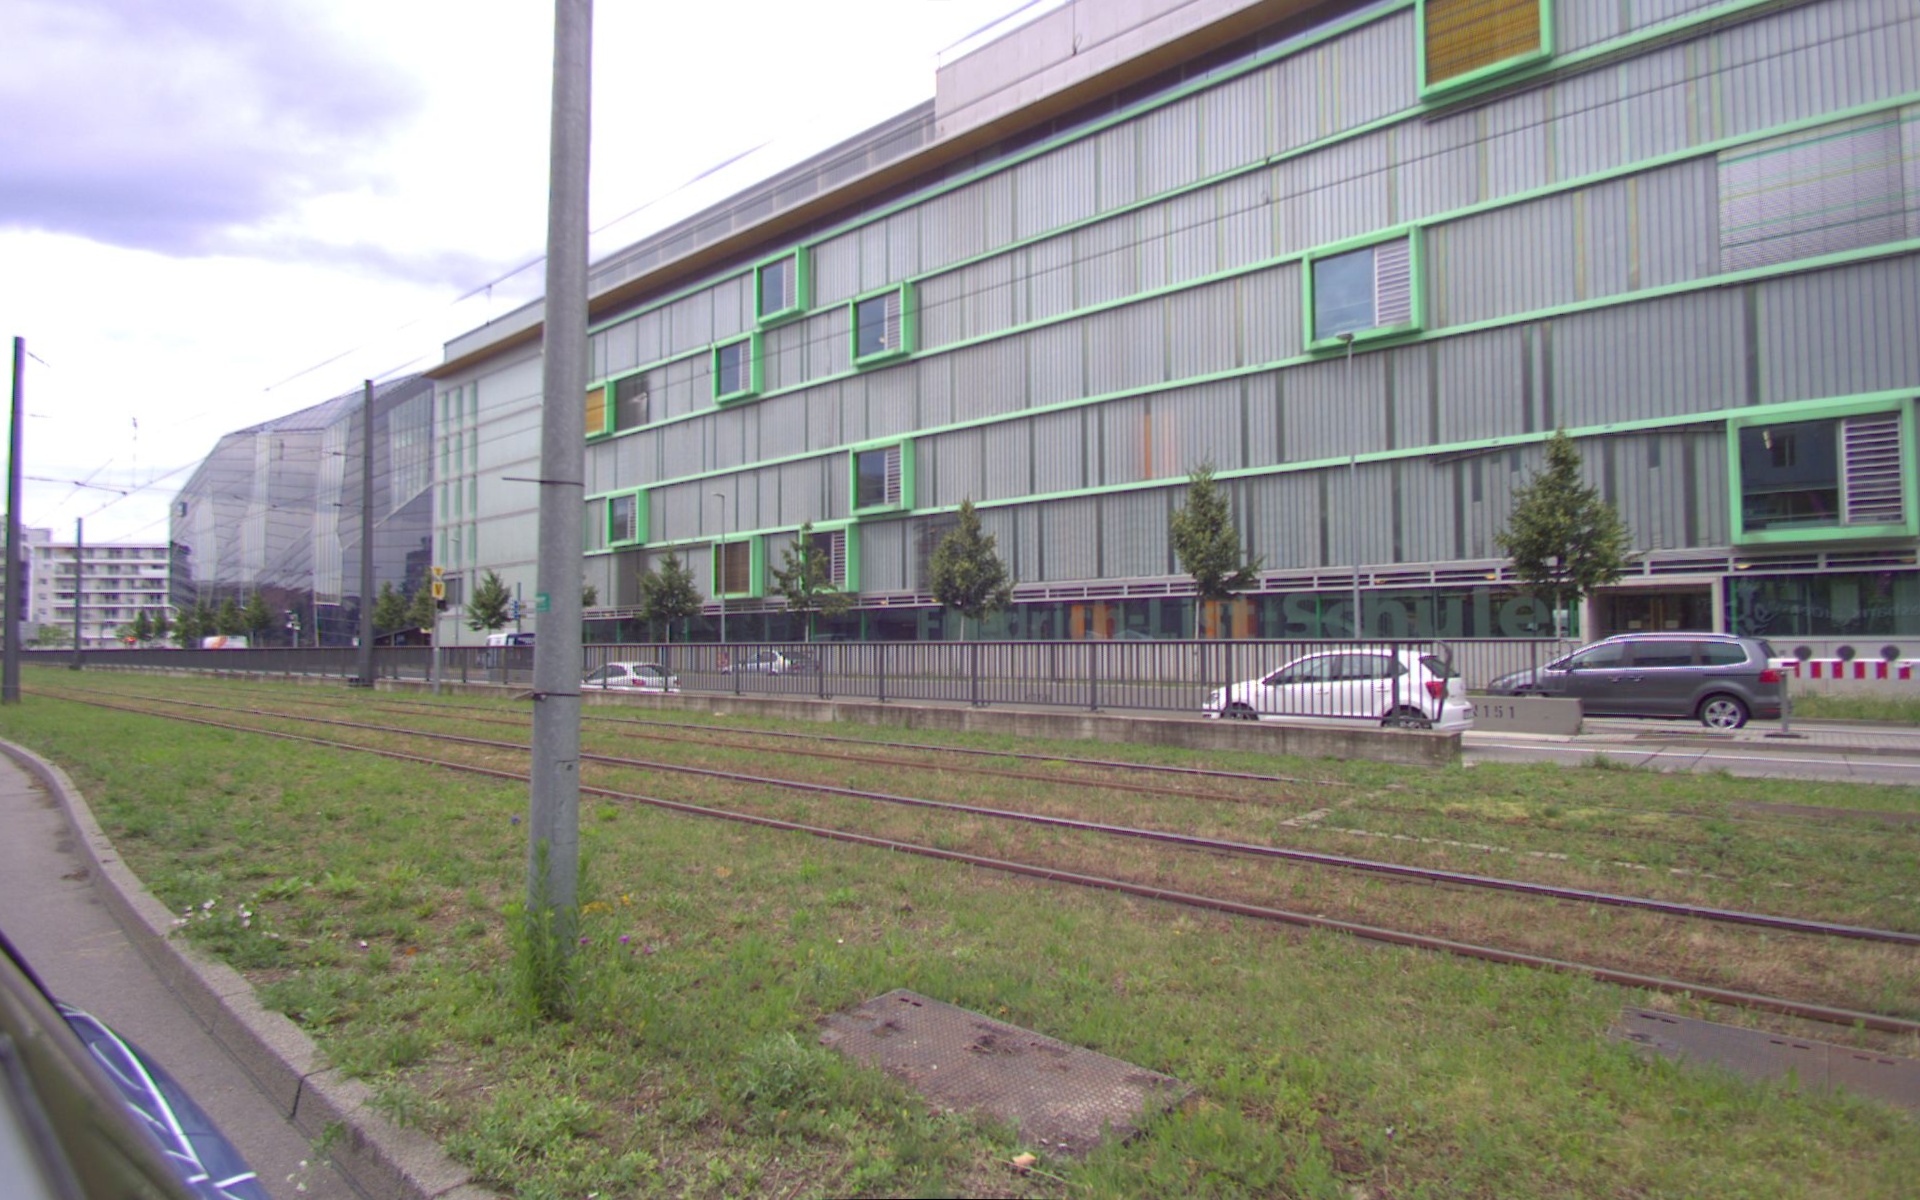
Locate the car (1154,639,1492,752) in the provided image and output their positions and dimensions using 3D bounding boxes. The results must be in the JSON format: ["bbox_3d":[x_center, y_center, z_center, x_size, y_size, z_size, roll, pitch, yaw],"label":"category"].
[{"bbox_3d":[5.437,1.372,15.516,4.567,1.491,1.745,-2,-4,39],"label":"car"}]

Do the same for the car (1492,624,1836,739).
[{"bbox_3d":[12.792,1.423,18.622,4.965,1.837,1.972,-3,-3,42],"label":"car"}]

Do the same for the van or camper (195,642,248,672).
[{"bbox_3d":[-59.653,4.595,81.728,6.503,2.304,2.150,-3,-3,42],"label":"van or camper"}]

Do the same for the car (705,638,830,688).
[{"bbox_3d":[-6.903,2.209,36.064,4.645,1.679,1.972,-3,-3,42],"label":"car"}]

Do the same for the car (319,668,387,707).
[{"bbox_3d":[-37.205,5.377,61.999,4.965,2.029,1.974,-8,-6,38],"label":"car"}]

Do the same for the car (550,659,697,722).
[{"bbox_3d":[-9.521,2.490,28.495,4.376,1.598,1.973,-3,-3,40],"label":"car"}]

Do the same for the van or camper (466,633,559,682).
[{"bbox_3d":[-22.176,2.839,50.014,5.356,2.304,2.150,-3,-3,41],"label":"van or camper"}]

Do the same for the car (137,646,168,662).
[{"bbox_3d":[-87.656,5.875,109.845,4.766,1.605,1.971,-5,-5,43],"label":"car"}]
